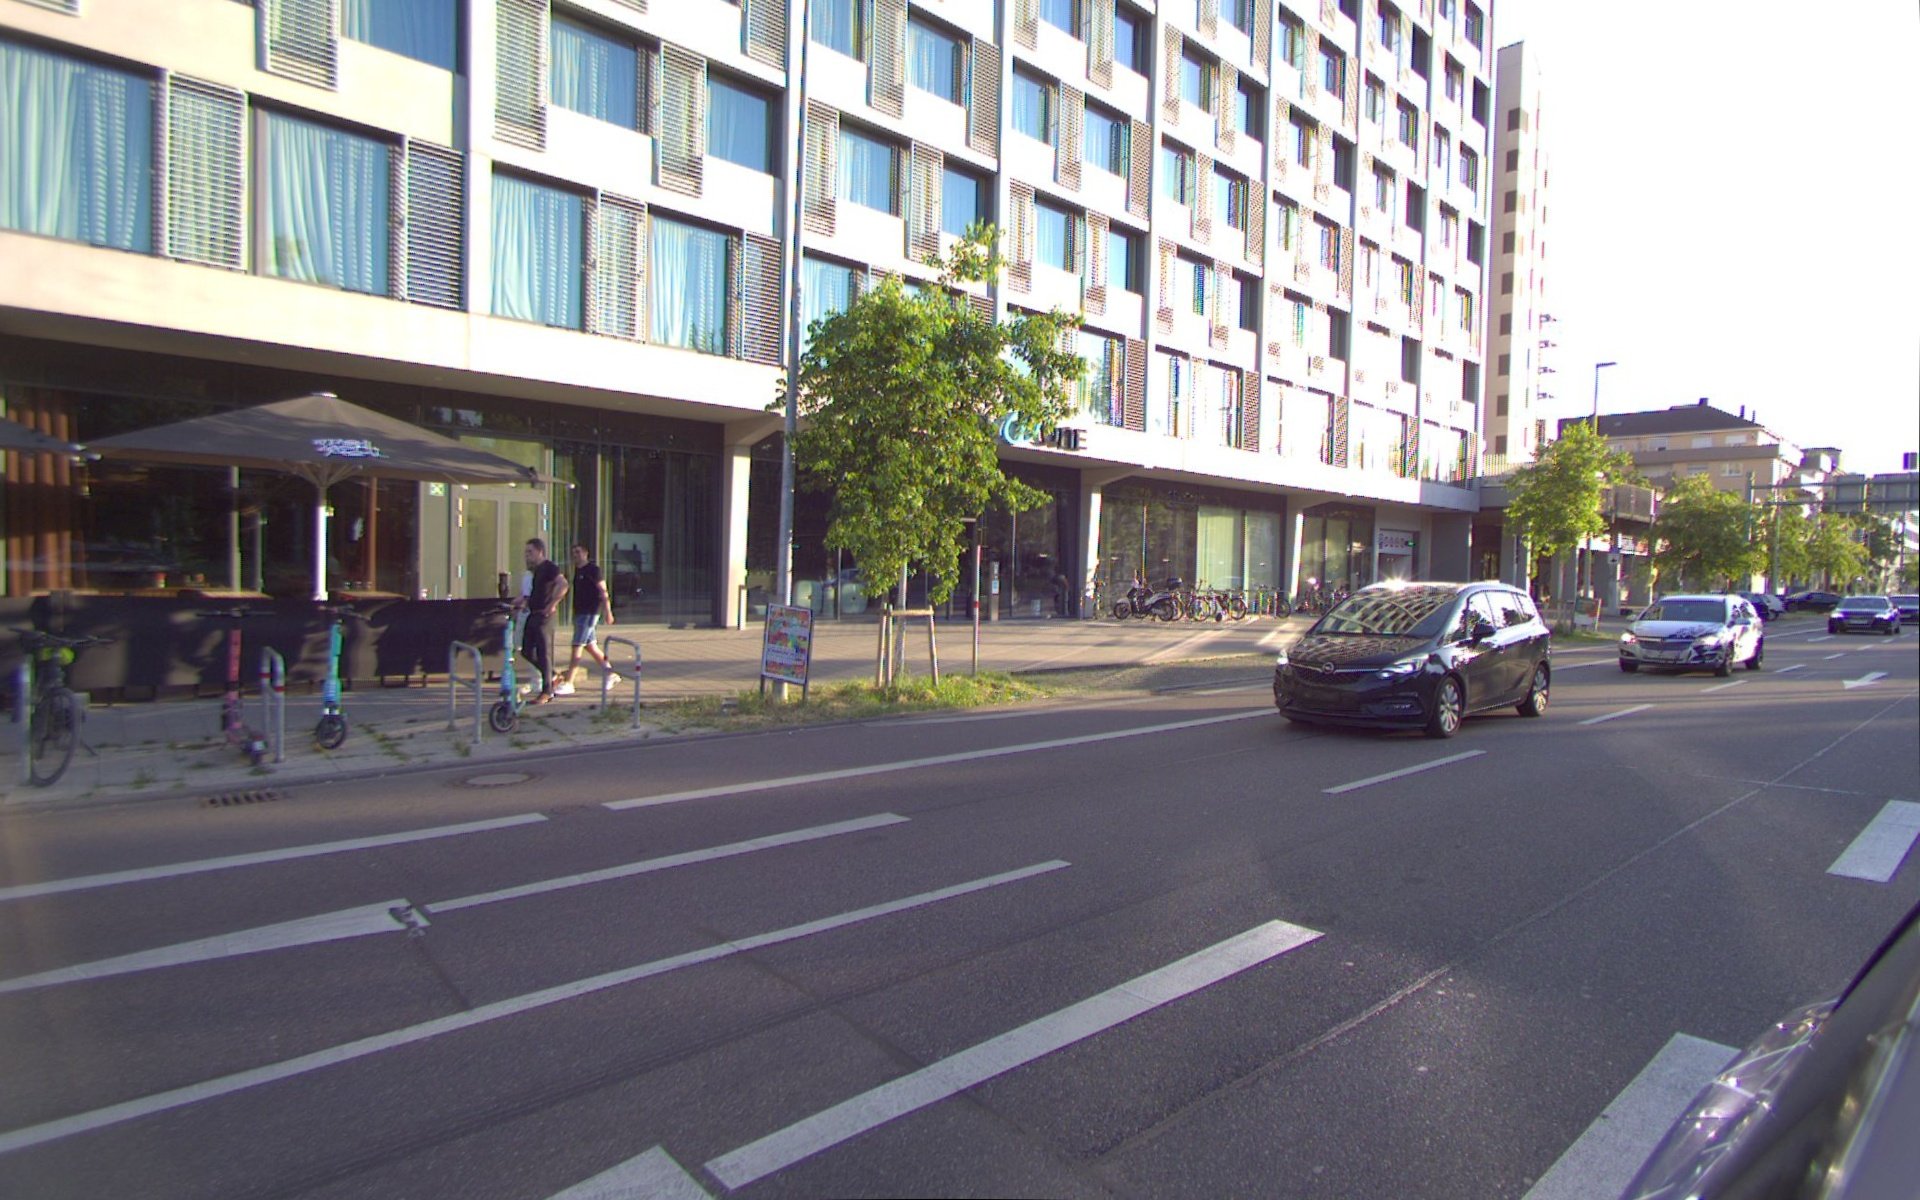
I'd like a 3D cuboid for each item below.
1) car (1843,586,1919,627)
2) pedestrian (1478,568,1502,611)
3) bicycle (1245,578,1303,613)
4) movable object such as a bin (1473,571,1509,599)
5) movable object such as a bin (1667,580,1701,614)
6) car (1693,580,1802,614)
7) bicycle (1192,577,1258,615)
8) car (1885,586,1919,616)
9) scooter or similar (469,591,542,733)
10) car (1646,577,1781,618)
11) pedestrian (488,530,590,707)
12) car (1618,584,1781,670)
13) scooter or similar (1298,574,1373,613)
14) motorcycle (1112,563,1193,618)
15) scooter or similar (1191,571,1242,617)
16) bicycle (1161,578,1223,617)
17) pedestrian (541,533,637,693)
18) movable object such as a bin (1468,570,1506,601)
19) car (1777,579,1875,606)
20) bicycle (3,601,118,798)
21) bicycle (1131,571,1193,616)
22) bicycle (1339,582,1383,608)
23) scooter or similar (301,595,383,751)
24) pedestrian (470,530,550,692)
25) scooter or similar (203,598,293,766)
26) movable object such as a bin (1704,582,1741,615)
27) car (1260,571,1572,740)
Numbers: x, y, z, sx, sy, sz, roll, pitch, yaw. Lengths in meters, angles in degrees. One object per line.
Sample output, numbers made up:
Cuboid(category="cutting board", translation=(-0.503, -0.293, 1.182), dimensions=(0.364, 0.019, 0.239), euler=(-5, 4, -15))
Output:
Cuboid(category="car", translation=(34.380, 0.217, 37.534), dimensions=(4.202, 1.413, 1.914), euler=(0, 0, -41))
Cuboid(category="pedestrian", translation=(20.484, -0.406, 39.125), dimensions=(0.576, 1.638, 0.632), euler=(5, 4, 45))
Cuboid(category="bicycle", translation=(10.114, -0.149, 32.659), dimensions=(0.542, 0.998, 1.701), euler=(0, 4, -45))
Cuboid(category="movable object such as a bin", translation=(26.128, -0.753, 49.778), dimensions=(1.283, 1.315, 1.183), euler=(0, 2, -44))
Cuboid(category="movable object such as a bin", translation=(31.788, -0.135, 44.424), dimensions=(1.014, 1.363, 1.143), euler=(6, 4, 43))
Cuboid(category="car", translation=(40.222, -0.171, 51.781), dimensions=(3.927, 1.433, 1.747), euler=(3, 4, 10))
Cuboid(category="bicycle", translation=(8.069, -0.133, 30.890), dimensions=(0.556, 1.022, 1.888), euler=(0, 5, -43))
Cuboid(category="car", translation=(46.758, 0.037, 49.732), dimensions=(1.858, 1.413, 4.209), euler=(0, 0, 44))
Cuboid(category="scooter or similar", translation=(-4.514, 0.574, 10.105), dimensions=(0.524, 1.233, 1.300), euler=(1, 4, -18))
Cuboid(category="car", translation=(35.241, -0.145, 47.470), dimensions=(4.592, 1.526, 1.936), euler=(3, 4, 9))
Cuboid(category="pedestrian", translation=(-4.712, 0.178, 11.313), dimensions=(0.922, 1.870, 0.747), euler=(0, 4, -33))
Cuboid(category="car", translation=(14.473, 0.453, 19.716), dimensions=(4.231, 1.482, 1.830), euler=(0, 0, -43))
Cuboid(category="scooter or similar", translation=(12.857, -0.237, 34.712), dimensions=(0.610, 1.197, 2.376), euler=(0, 4, -42))
Cuboid(category="motorcycle", translation=(5.387, -0.286, 28.410), dimensions=(2.105, 1.403, 0.664), euler=(4, 3, 34))
Cuboid(category="scooter or similar", translation=(7.487, -0.185, 29.606), dimensions=(1.268, 1.248, 0.599), euler=(5, 4, 44))
Cuboid(category="bicycle", translation=(6.750, -0.079, 29.493), dimensions=(0.542, 0.998, 1.701), euler=(0, 4, -45))
Cuboid(category="pedestrian", translation=(-4.510, 0.133, 12.296), dimensions=(0.922, 1.846, 0.759), euler=(0, 4, -33))
Cuboid(category="movable object such as a bin", translation=(23.914, -0.655, 45.891), dimensions=(1.261, 1.345, 1.107), euler=(0, 4, -43))
Cuboid(category="car", translation=(56.501, -0.501, 66.079), dimensions=(4.529, 1.471, 1.811), euler=(3, 3, 7))
Cuboid(category="bicycle", translation=(-6.871, 0.675, 7.737), dimensions=(0.598, 1.196, 1.850), euler=(0, 4, -42))
Cuboid(category="bicycle", translation=(5.809, -0.198, 29.154), dimensions=(1.603, 1.168, 0.604), euler=(5, 3, 36))
Cuboid(category="bicycle", translation=(14.708, -0.203, 37.157), dimensions=(0.449, 0.902, 1.424), euler=(0, 2, -42))
Cuboid(category="scooter or similar", translation=(-5.550, 0.616, 9.133), dimensions=(0.521, 1.228, 1.134), euler=(-1, 5, -26))
Cuboid(category="pedestrian", translation=(-5.339, 0.112, 11.996), dimensions=(0.762, 1.833, 0.621), euler=(0, 5, -33))
Cuboid(category="scooter or similar", translation=(-5.911, 0.632, 8.384), dimensions=(0.501, 1.205, 1.159), euler=(-2, 5, -40))
Cuboid(category="movable object such as a bin", translation=(32.752, -0.062, 43.464), dimensions=(1.084, 1.317, 1.341), euler=(5, 4, 41))
Cuboid(category="car", translation=(5.441, 0.508, 11.809), dimensions=(4.293, 1.618, 1.825), euler=(0, 1, -43))
